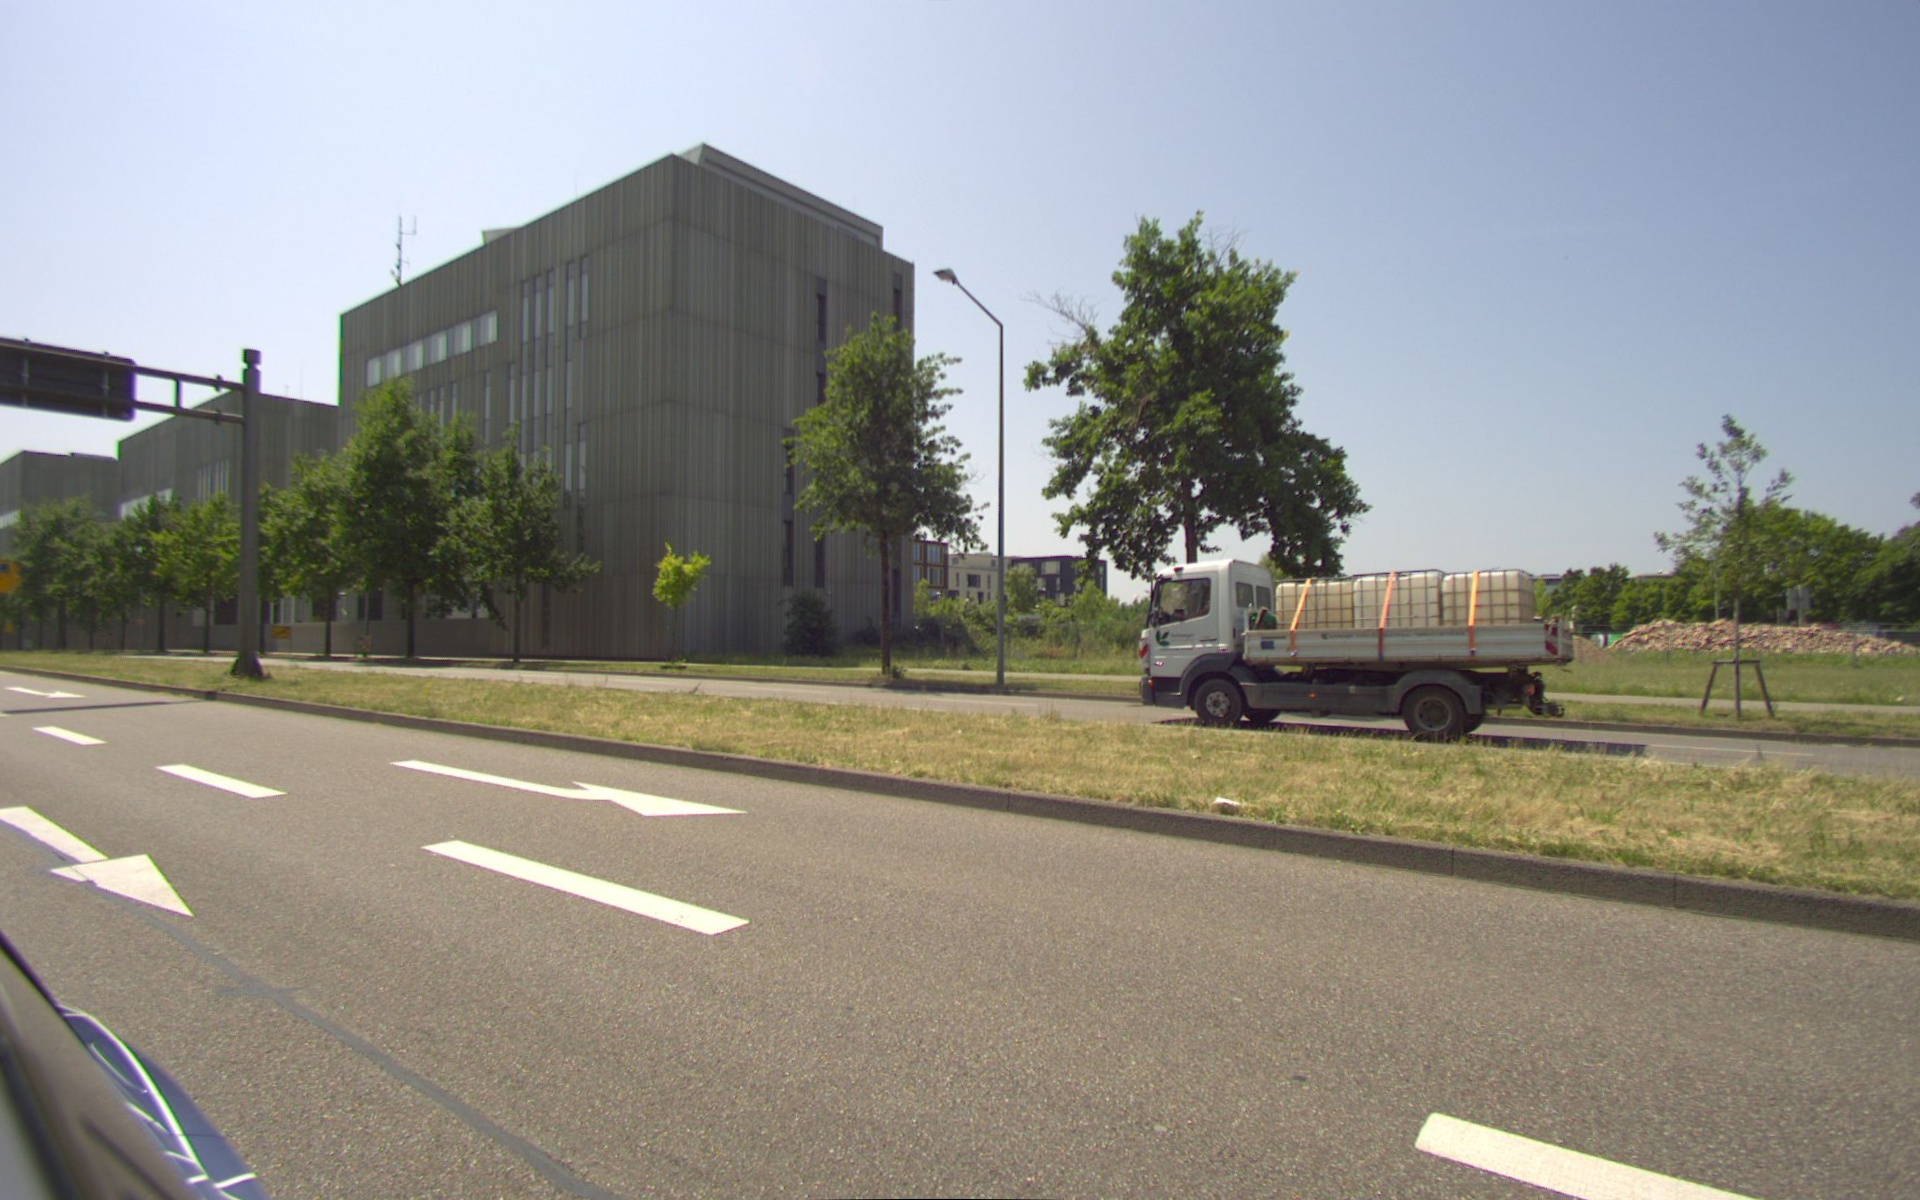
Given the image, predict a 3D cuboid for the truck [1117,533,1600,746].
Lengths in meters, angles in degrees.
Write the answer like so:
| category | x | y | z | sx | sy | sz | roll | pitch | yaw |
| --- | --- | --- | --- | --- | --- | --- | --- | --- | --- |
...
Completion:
| category | x | y | z | sx | sy | sz | roll | pitch | yaw |
| --- | --- | --- | --- | --- | --- | --- | --- | --- | --- |
| truck | 5.801 | 0.620 | 15.251 | 6.306 | 2.596 | 2.615 | -2 | -5 | 36 |
